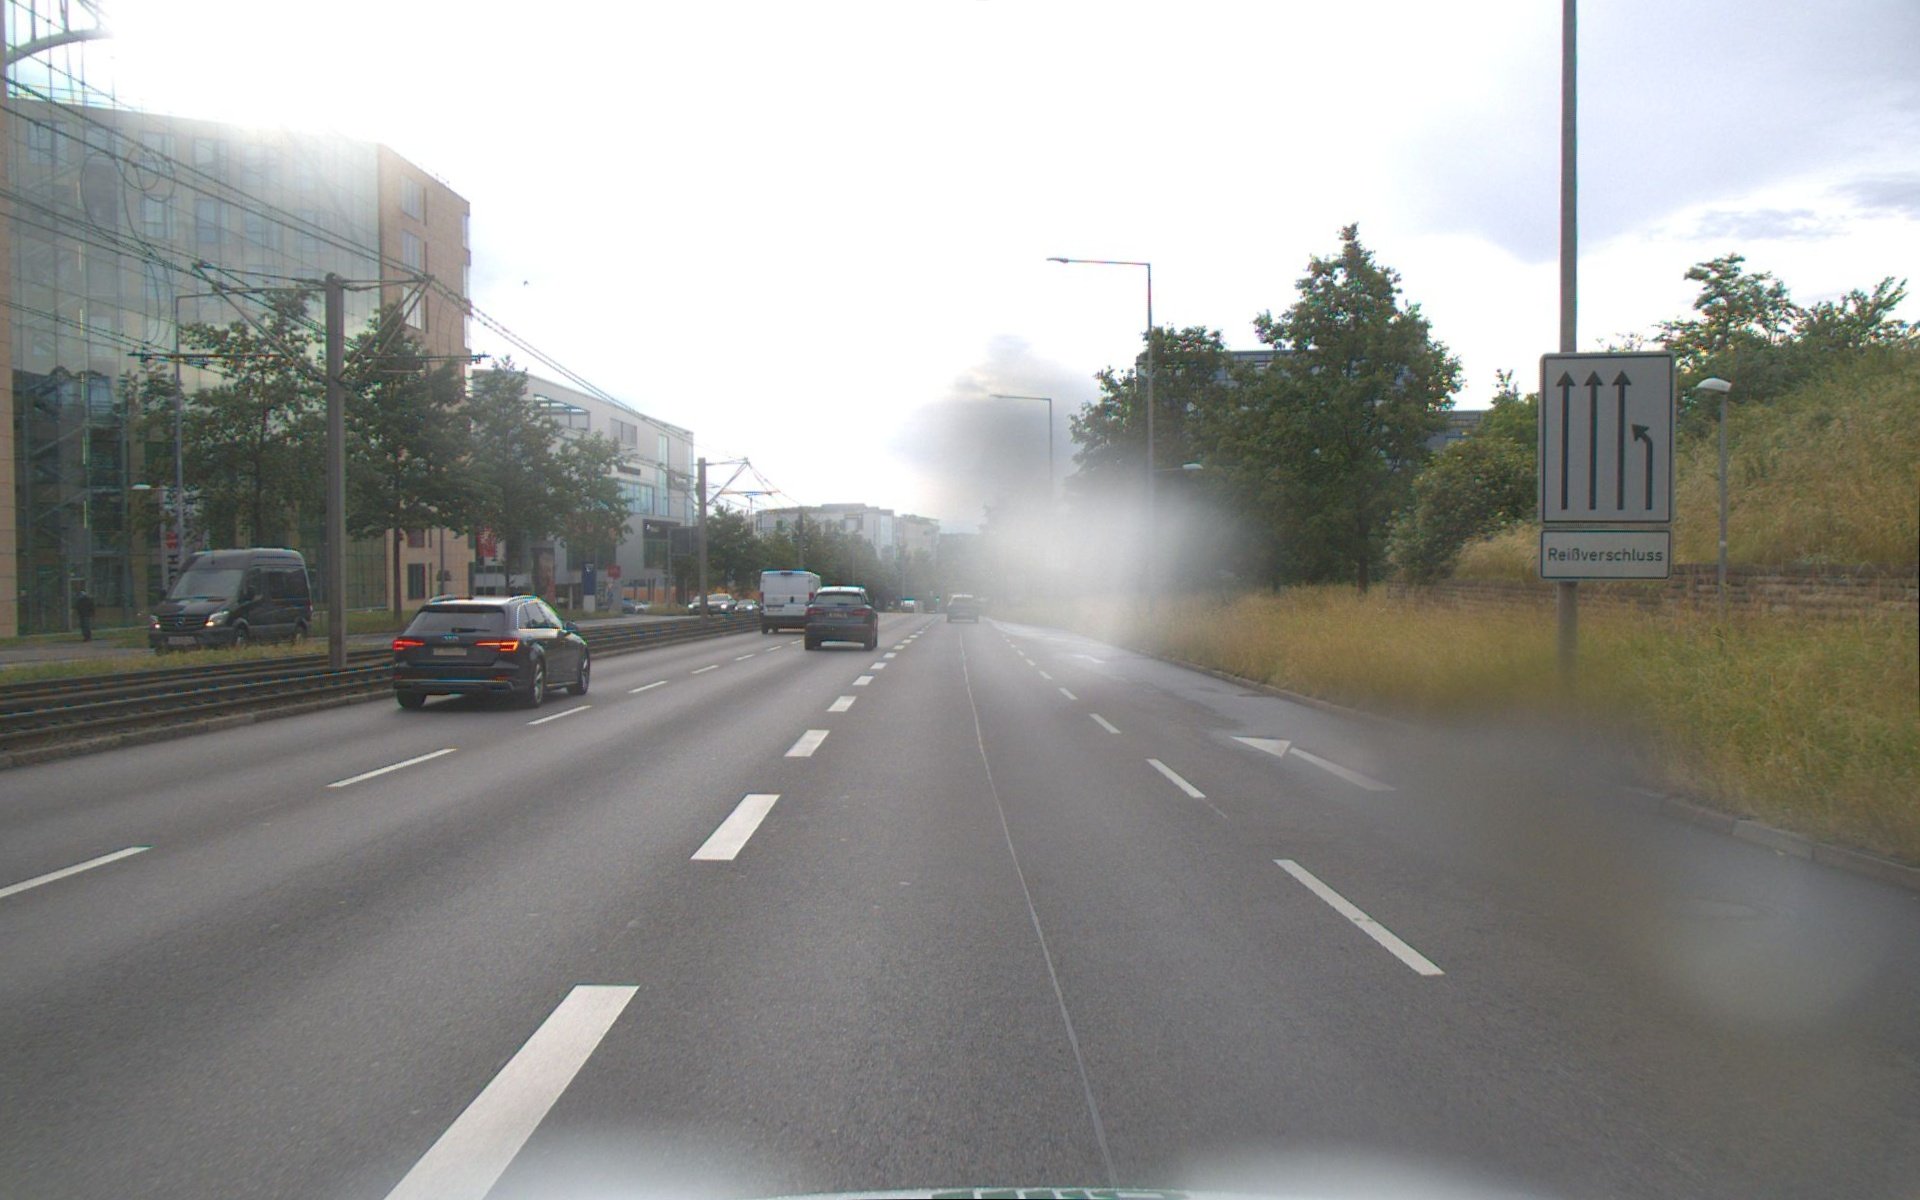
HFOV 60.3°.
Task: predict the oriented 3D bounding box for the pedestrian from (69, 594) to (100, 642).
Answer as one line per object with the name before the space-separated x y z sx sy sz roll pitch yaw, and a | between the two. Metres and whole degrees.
pedestrian | -30.409 0.637 57.459 0.629 1.660 0.831 1 -2 -3

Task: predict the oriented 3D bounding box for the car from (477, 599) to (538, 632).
car | -22.189 0.778 81.184 1.803 1.479 4.024 1 -1 0

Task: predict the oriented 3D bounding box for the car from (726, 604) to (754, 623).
car | -19.459 1.204 146.448 1.803 1.512 4.654 -3 1 0

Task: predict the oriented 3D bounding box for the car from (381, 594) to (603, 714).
car | -6.200 0.648 22.490 1.750 1.438 4.804 1 0 -1

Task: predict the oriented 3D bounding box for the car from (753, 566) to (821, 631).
car | -6.427 -0.058 61.821 2.222 2.325 4.757 1 0 -3

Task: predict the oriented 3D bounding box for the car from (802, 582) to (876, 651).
car | -3.236 0.414 44.840 1.884 1.740 4.095 1 0 -3

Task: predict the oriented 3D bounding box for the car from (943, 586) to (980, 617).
car | 0.045 0.086 89.834 1.754 1.619 3.997 -1 0 -3

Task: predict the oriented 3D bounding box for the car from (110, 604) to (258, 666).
car | -21.194 0.918 45.390 1.723 1.560 4.817 1 0 1

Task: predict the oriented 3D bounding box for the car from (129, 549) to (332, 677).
car | -17.644 0.302 40.375 2.334 2.867 5.612 1 0 1

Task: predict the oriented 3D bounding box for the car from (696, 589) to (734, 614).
car | -16.458 0.134 111.213 1.735 1.528 4.200 1 -1 2
